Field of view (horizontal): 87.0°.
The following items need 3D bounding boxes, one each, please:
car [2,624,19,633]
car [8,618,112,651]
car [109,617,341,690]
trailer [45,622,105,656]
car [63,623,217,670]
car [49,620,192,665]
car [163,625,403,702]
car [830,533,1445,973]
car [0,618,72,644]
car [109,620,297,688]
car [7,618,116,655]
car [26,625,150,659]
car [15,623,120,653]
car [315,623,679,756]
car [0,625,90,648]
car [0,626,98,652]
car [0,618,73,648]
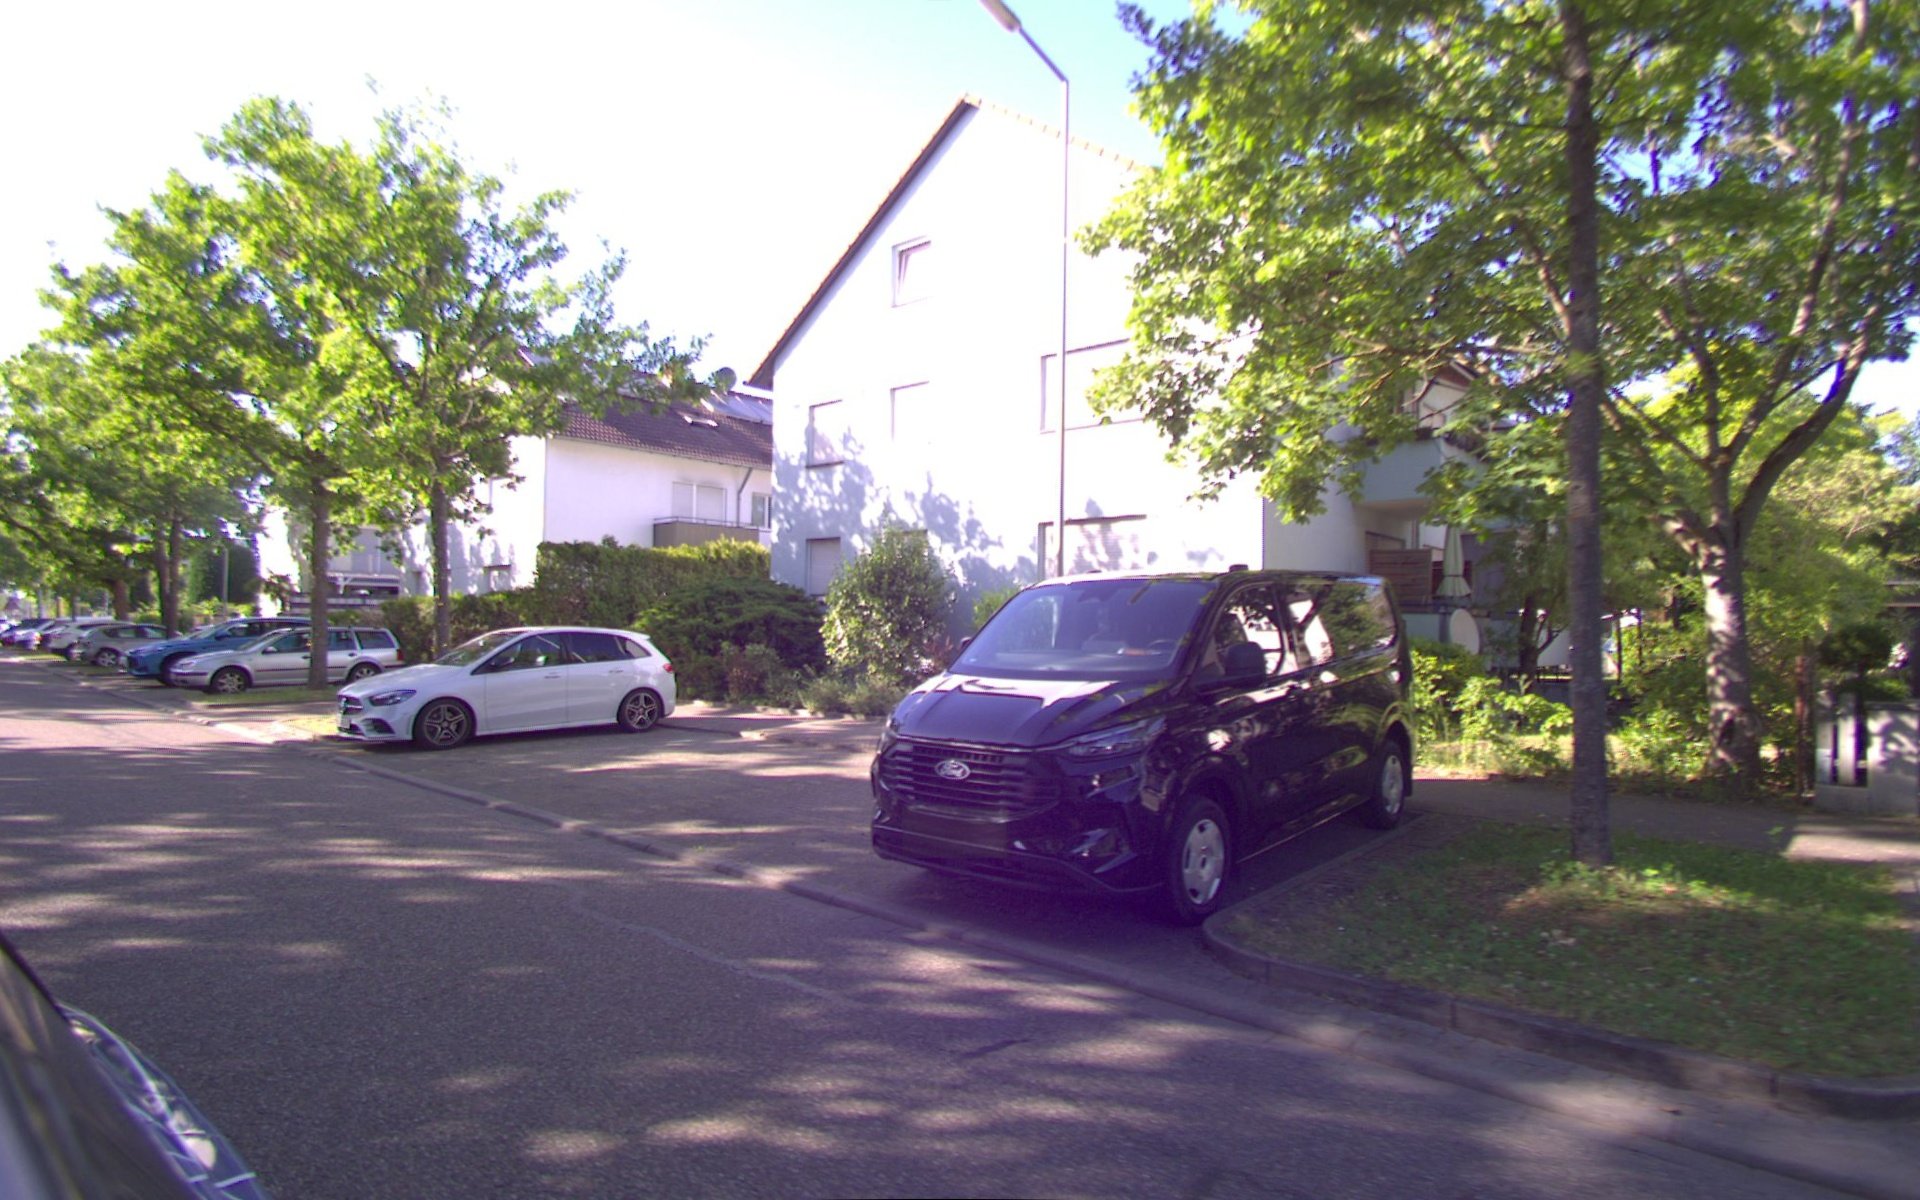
[{"bbox_3d":[-150.411,4.536,160.373,1.851,1.489,3.855,3,-3,-42],"label":"car"},{"bbox_3d":[-50.700,1.895,57.057,1.967,1.783,4.194,-1,-1,41],"label":"car"},{"bbox_3d":[-18.386,1.259,25.458,1.938,1.643,4.473,-1,-1,44],"label":"car"},{"bbox_3d":[-45.317,1.994,51.837,2.208,1.686,1.476,2,-3,-42],"label":"trailer"},{"bbox_3d":[-28.663,1.565,35.459,1.810,1.434,3.991,-1,0,42],"label":"car"},{"bbox_3d":[-32.427,1.593,39.168,1.793,1.579,4.139,-1,-1,45],"label":"car"},{"bbox_3d":[-14.782,1.316,22.271,1.647,1.503,4.137,-1,-1,43],"label":"car"},{"bbox_3d":[1.551,0.714,6.916,2.017,1.931,4.729,-1,-2,41],"label":"car"},{"bbox_3d":[-63.343,2.081,68.927,1.761,1.737,4.162,-1,-1,45],"label":"car"},{"bbox_3d":[-21.637,1.578,29.017,1.858,1.607,3.943,2,-4,44],"label":"car"},{"bbox_3d":[-48.941,1.991,55.198,1.999,1.959,4.191,-1,-3,41],"label":"car"},{"bbox_3d":[-39.786,1.919,46.233,4.161,1.483,1.692,2,-3,-44],"label":"car"},{"bbox_3d":[-47.091,2.025,53.475,1.690,1.528,3.945,-1,-2,41],"label":"car"},{"bbox_3d":[-6.215,1.090,13.947,1.769,1.489,4.229,-1,-1,43],"label":"car"},{"bbox_3d":[-59.738,2.386,66.030,1.721,1.435,4.231,-1,-3,37],"label":"car"},{"bbox_3d":[-55.594,2.389,61.706,1.837,1.511,4.427,-1,-3,43],"label":"car"},{"bbox_3d":[-58.409,2.025,63.019,1.796,1.782,4.621,-2,-1,44],"label":"car"}]
